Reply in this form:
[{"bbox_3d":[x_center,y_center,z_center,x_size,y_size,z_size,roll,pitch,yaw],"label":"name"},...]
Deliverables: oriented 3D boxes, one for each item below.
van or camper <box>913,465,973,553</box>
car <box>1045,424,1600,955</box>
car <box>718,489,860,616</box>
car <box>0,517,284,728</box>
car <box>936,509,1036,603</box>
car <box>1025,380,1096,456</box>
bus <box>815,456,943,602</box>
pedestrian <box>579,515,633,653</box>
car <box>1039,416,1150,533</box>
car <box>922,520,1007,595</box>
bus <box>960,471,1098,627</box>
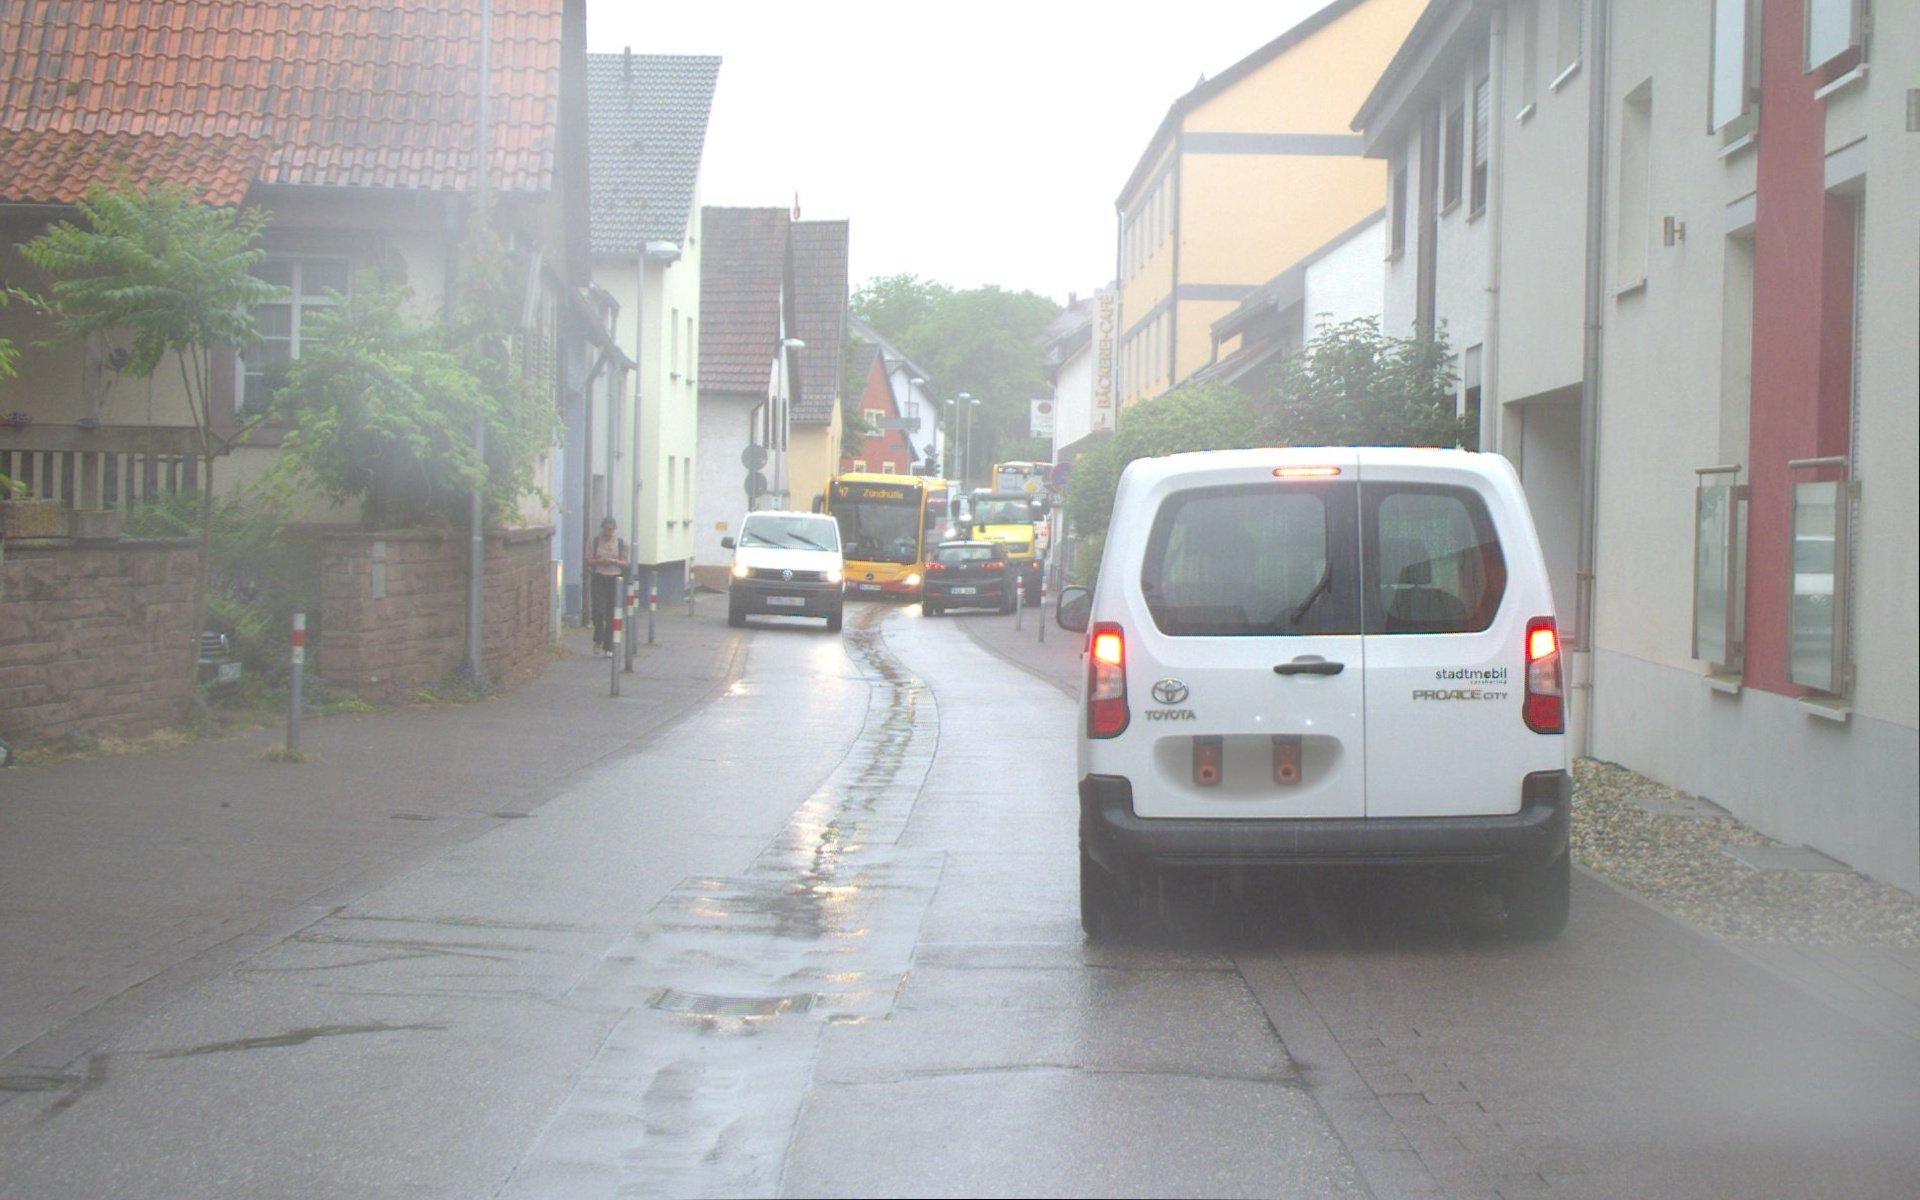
[{"bbox_3d":[-0.580,-3.179,121.455,1.835,2.915,5.363,3,0,2],"label":"van or camper"},{"bbox_3d":[1.292,0.286,13.829,1.795,1.812,4.102,0,1,0],"label":"car"},{"bbox_3d":[-2.800,-0.779,57.382,1.892,1.960,4.723,3,1,2],"label":"car"},{"bbox_3d":[-6.659,0.112,23.939,3.528,1.371,1.594,2,1,3],"label":"car"},{"bbox_3d":[0.445,-0.733,58.090,1.562,1.475,3.585,3,1,1],"label":"car"},{"bbox_3d":[2.994,-5.441,103.033,1.993,2.007,4.000,3,0,1],"label":"car"},{"bbox_3d":[-1.954,-1.740,85.988,2.793,3.317,8.178,3,1,0],"label":"bus"},{"bbox_3d":[-3.938,-0.179,38.261,0.567,1.525,0.569,0,1,-9],"label":"pedestrian"},{"bbox_3d":[2.470,-2.307,63.980,1.827,2.007,3.694,3,0,0],"label":"car"},{"bbox_3d":[0.110,-0.838,67.817,1.562,1.367,3.585,3,1,1],"label":"car"},{"bbox_3d":[1.486,-1.132,77.673,2.793,3.169,8.178,3,1,0],"label":"bus"}]
